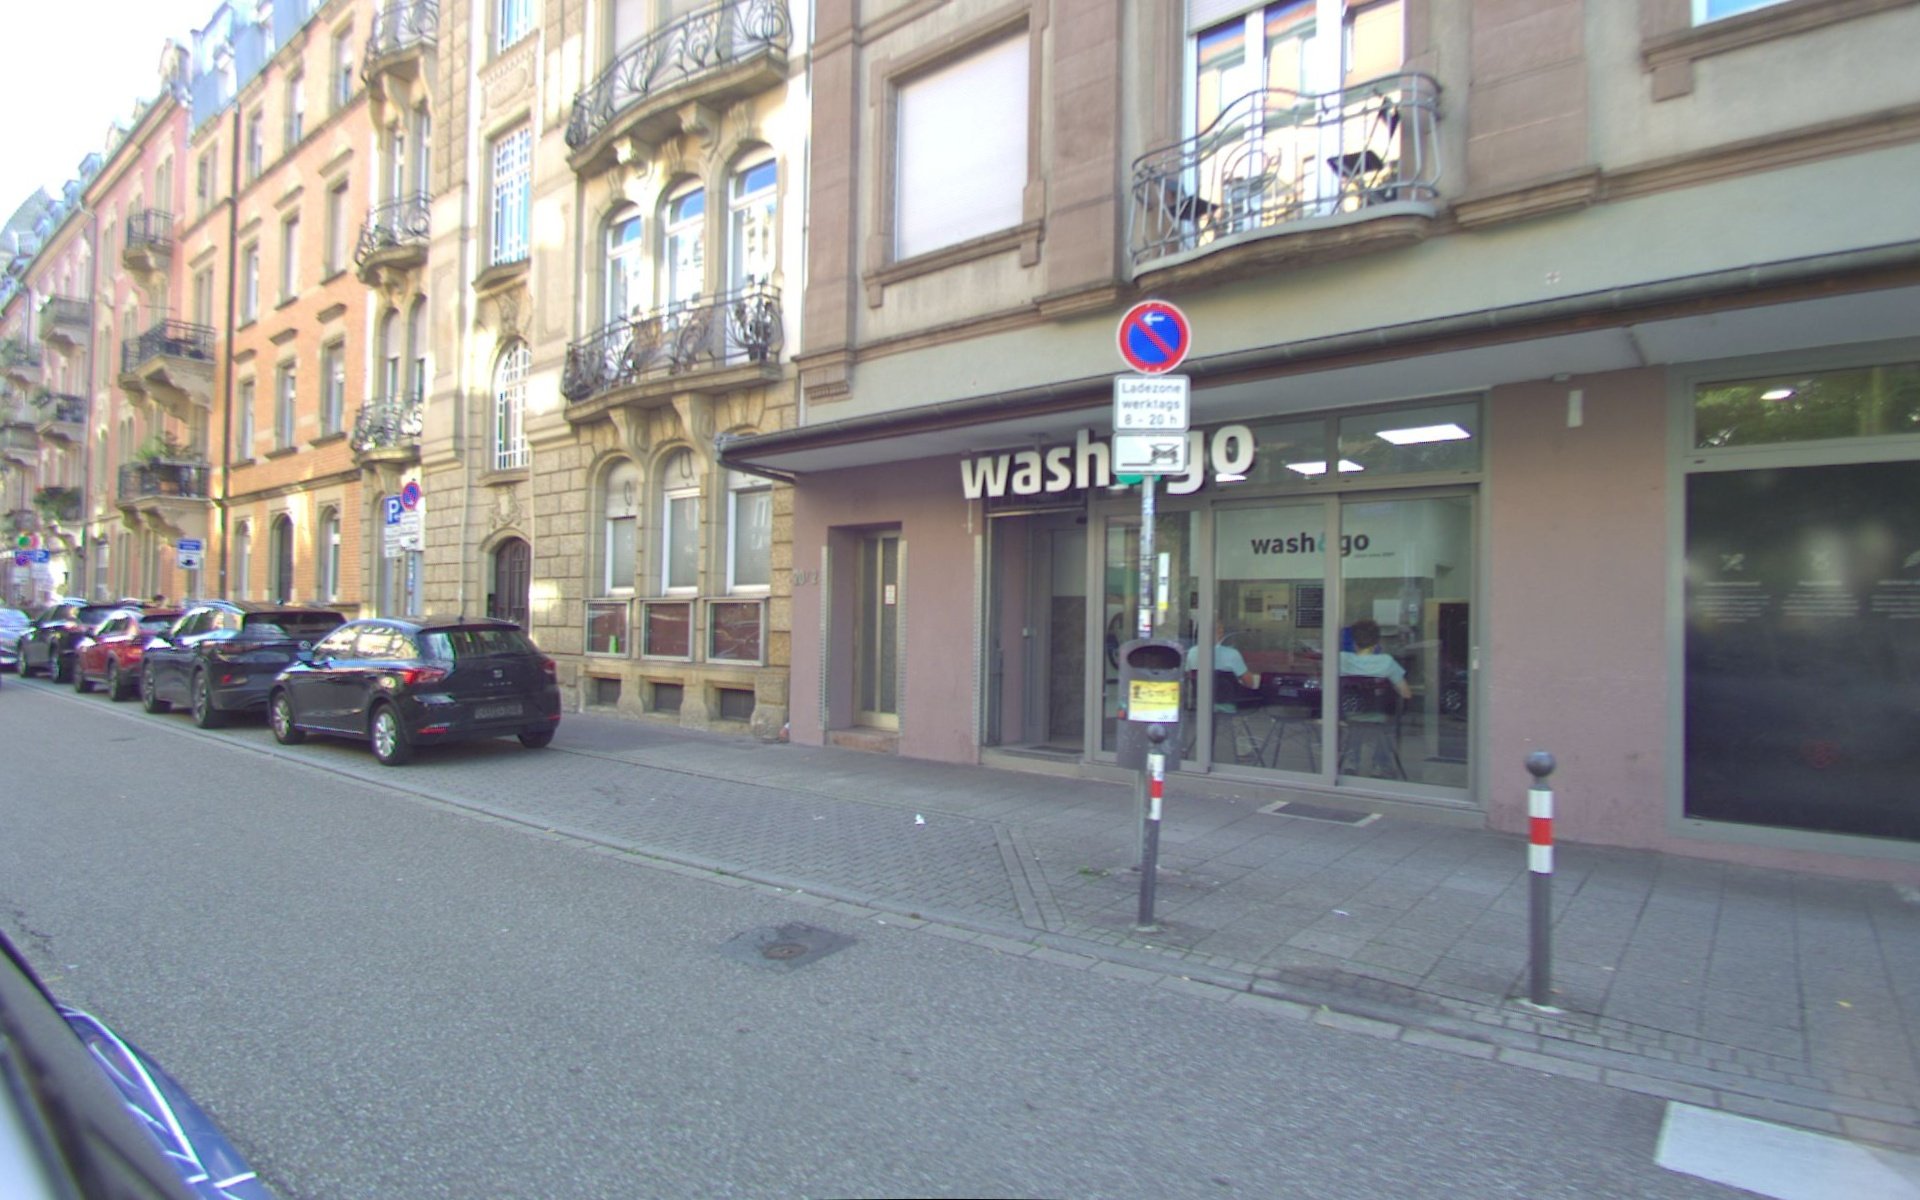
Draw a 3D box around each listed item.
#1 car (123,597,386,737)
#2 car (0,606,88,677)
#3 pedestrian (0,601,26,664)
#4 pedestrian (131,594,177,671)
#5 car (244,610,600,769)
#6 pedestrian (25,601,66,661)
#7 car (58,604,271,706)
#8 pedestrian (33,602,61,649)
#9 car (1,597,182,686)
[{"bbox_3d":[-9.979,0.814,14.162,4.843,1.641,1.772,0,-2,40],"label":"car"},{"bbox_3d":[-23.177,0.952,24.638,5.253,1.590,1.809,0,-1,36],"label":"car"},{"bbox_3d":[-26.636,0.902,28.233,0.659,1.722,0.565,0,-1,5],"label":"pedestrian"},{"bbox_3d":[-19.544,0.769,24.534,0.863,1.822,0.748,-1,-1,43],"label":"pedestrian"},{"bbox_3d":[-6.075,0.858,11.242,4.240,1.431,1.974,-1,-2,39],"label":"car"},{"bbox_3d":[-26.007,0.866,28.789,0.545,1.674,0.680,0,-1,9],"label":"pedestrian"},{"bbox_3d":[-14.059,0.886,17.809,4.422,1.556,1.974,0,-2,39],"label":"car"},{"bbox_3d":[-33.265,0.919,36.861,0.763,1.709,0.657,-1,-1,39],"label":"pedestrian"},{"bbox_3d":[-18.476,0.844,21.463,4.884,1.693,1.856,-1,-1,36],"label":"car"}]
